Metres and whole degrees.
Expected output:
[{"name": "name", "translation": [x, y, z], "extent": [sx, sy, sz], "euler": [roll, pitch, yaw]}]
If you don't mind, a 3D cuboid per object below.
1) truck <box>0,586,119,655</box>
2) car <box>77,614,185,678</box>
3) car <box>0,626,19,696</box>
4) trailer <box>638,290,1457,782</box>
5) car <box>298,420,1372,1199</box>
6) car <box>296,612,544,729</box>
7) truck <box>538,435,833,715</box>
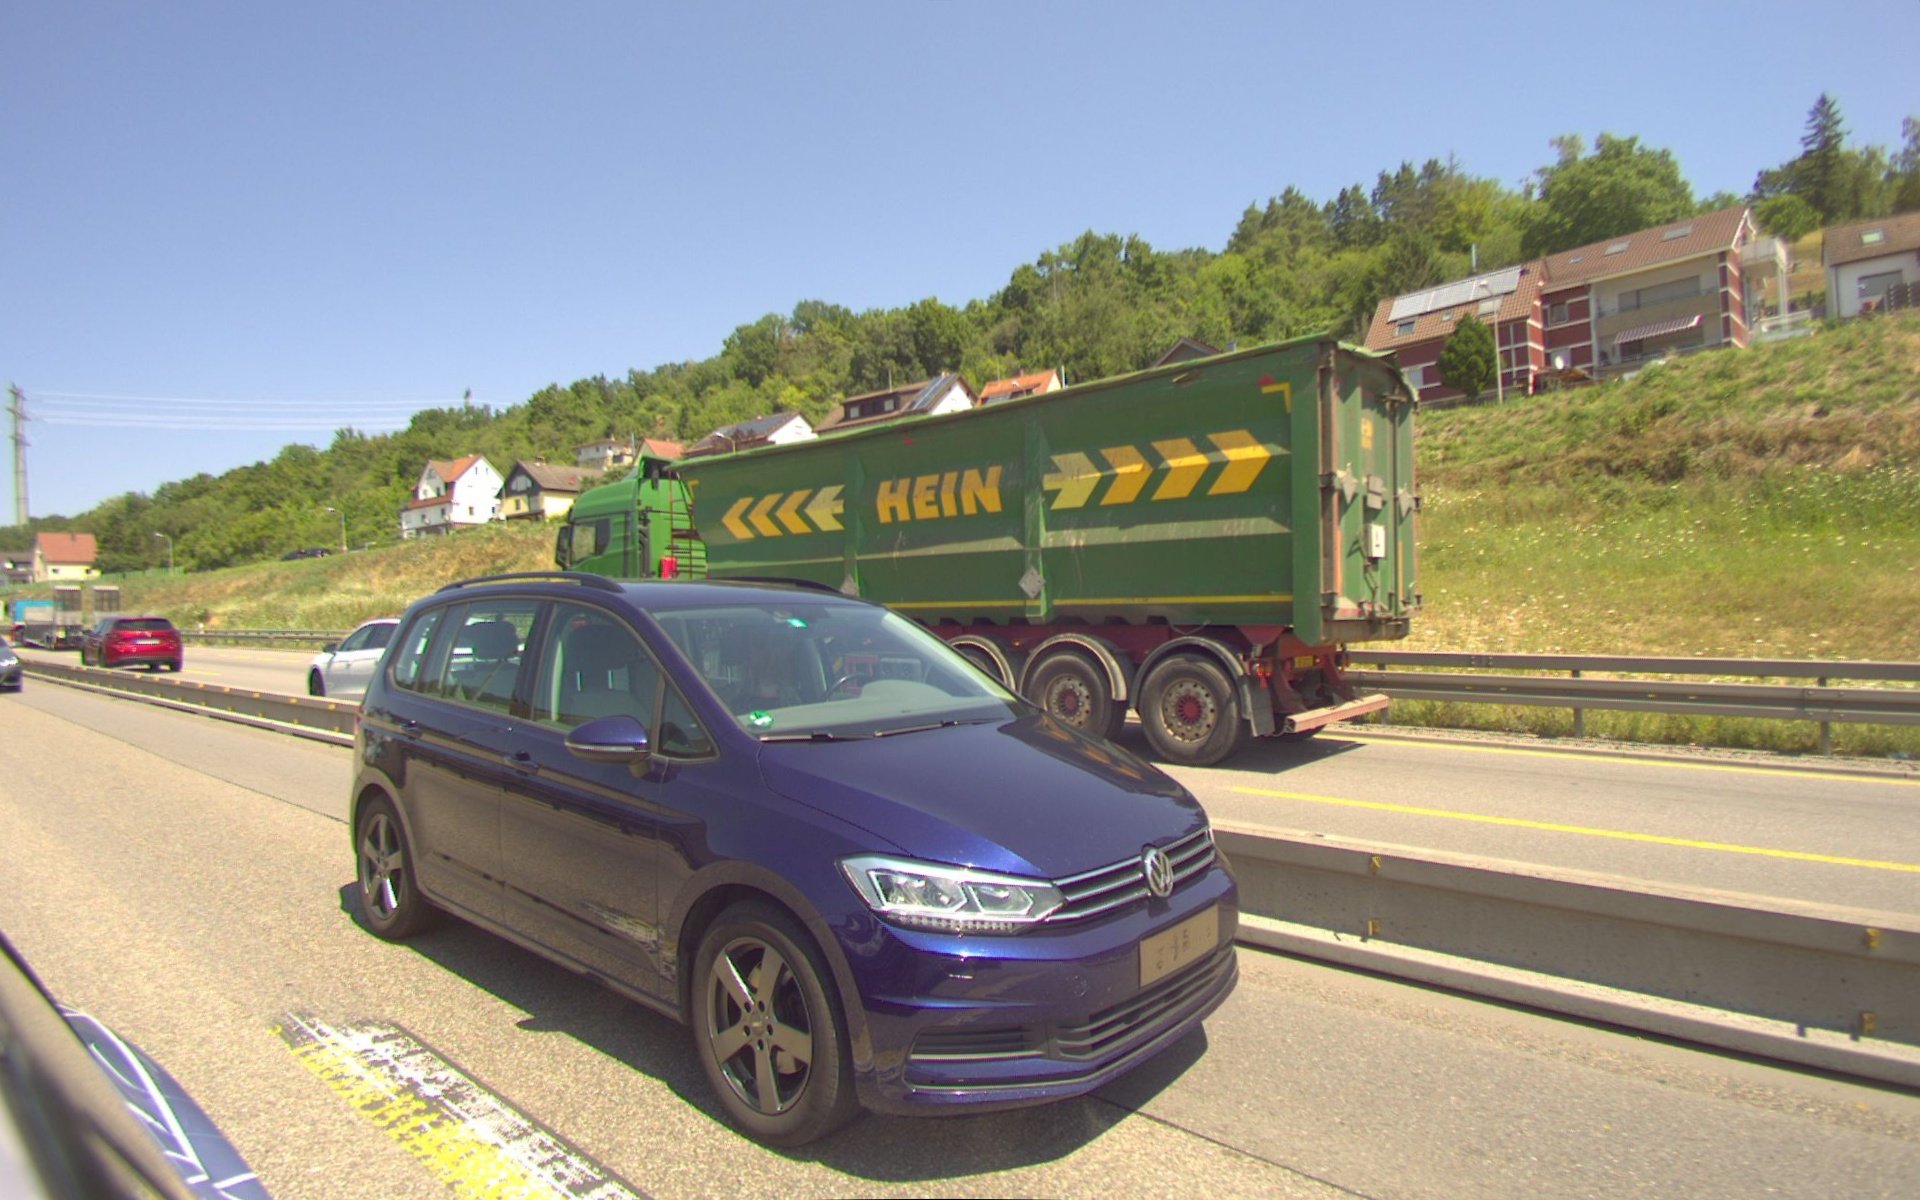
[{"name": "truck", "translation": [-49.412, 1.135, 55.210], "extent": [15.923, 3.348, 2.735], "euler": [-1, -1, 40]}, {"name": "car", "translation": [-24.129, 1.292, 29.418], "extent": [4.043, 1.729, 1.793], "euler": [-1, -1, 41]}, {"name": "car", "translation": [-22.014, 1.338, 22.079], "extent": [4.334, 1.466, 1.757], "euler": [-2, -1, 41]}, {"name": "trailer", "translation": [0.146, -0.430, 12.699], "extent": [10.520, 3.968, 2.883], "euler": [-1, -1, 41]}, {"name": "car", "translation": [-0.981, 0.565, 4.204], "extent": [4.649, 1.731, 1.757], "euler": [-2, -1, 41]}, {"name": "car", "translation": [-8.154, 0.960, 15.103], "extent": [4.436, 1.481, 1.755], "euler": [-1, -1, 40]}, {"name": "truck", "translation": [-4.610, -0.321, 16.810], "extent": [4.175, 3.968, 2.865], "euler": [-2, -1, 41]}]
